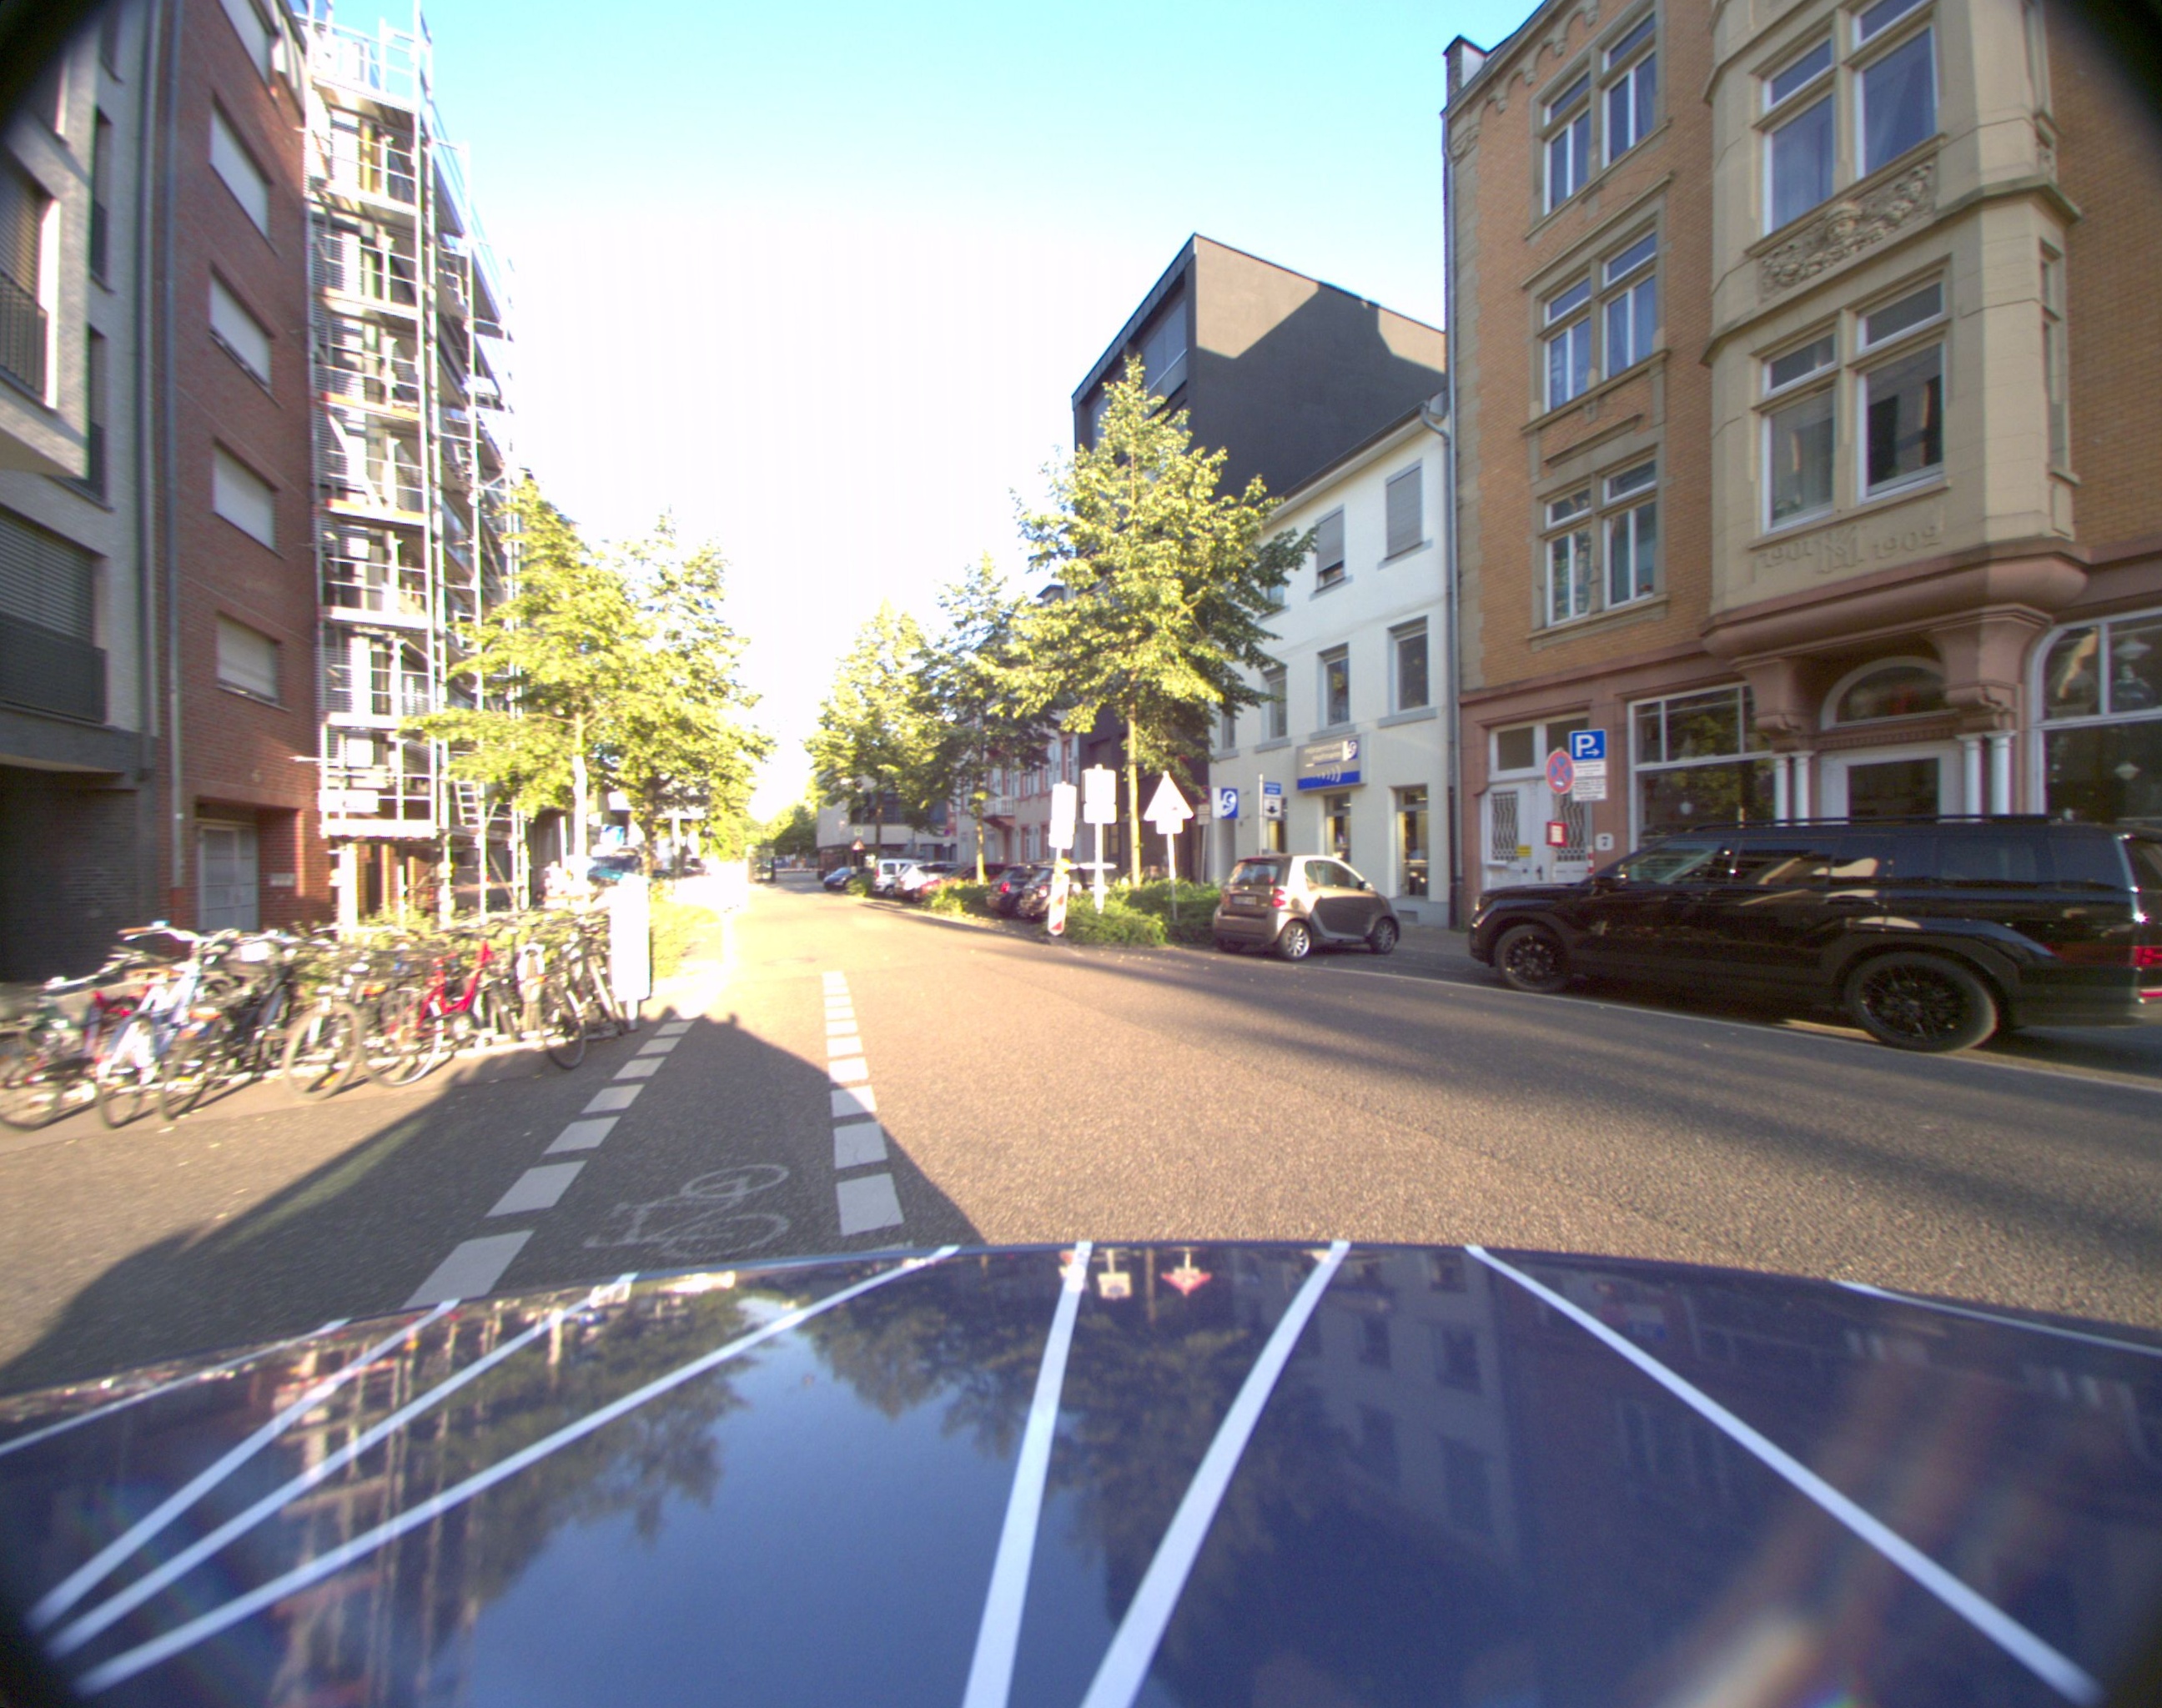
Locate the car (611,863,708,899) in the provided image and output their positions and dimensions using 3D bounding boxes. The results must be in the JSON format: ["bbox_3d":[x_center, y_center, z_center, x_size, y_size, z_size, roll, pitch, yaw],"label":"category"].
[{"bbox_3d":[-20.690,1.312,37.478,4.005,1.674,1.887,0,0,-23],"label":"car"}]

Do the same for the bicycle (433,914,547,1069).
[{"bbox_3d":[-5.407,1.191,7.028,0.489,1.156,1.549,-1,0,-25],"label":"bicycle"}]

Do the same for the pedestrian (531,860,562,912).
[{"bbox_3d":[-18.638,1.093,26.504,0.744,1.773,0.655,-1,0,-27],"label":"pedestrian"}]

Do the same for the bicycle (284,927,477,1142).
[{"bbox_3d":[-4.823,1.155,5.340,0.419,1.150,1.549,-1,0,-20],"label":"bicycle"}]

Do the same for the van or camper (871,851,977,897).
[{"bbox_3d":[-7.261,0.933,35.255,4.461,1.993,1.854,1,-1,-27],"label":"van or camper"}]

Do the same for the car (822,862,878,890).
[{"bbox_3d":[-13.904,1.316,45.952,1.856,1.558,3.700,1,-1,8],"label":"car"}]

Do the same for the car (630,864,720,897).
[{"bbox_3d":[-21.351,1.356,40.121,4.005,1.674,1.887,0,0,-23],"label":"car"}]

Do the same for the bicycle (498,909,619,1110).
[{"bbox_3d":[-3.917,1.076,5.787,0.499,1.213,1.549,-1,0,-25],"label":"bicycle"}]

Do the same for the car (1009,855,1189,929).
[{"bbox_3d":[0.452,0.901,18.717,4.015,1.660,1.854,1,-1,-27],"label":"car"}]

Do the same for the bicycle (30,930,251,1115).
[{"bbox_3d":[-7.341,1.240,6.026,0.459,1.125,1.549,-1,0,-25],"label":"bicycle"}]

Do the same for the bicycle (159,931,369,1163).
[{"bbox_3d":[-5.309,1.161,5.038,0.382,1.153,1.549,-1,0,-25],"label":"bicycle"}]

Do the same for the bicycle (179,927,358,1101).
[{"bbox_3d":[-6.726,1.253,6.376,0.469,1.137,1.549,-1,0,-25],"label":"bicycle"}]

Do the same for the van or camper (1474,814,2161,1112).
[{"bbox_3d":[6.252,0.676,6.887,1.899,1.797,4.450,0,0,-31],"label":"van or camper"}]

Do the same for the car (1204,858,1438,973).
[{"bbox_3d":[3.798,0.851,11.949,3.486,1.566,1.504,0,0,-28],"label":"car"}]

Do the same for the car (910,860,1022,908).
[{"bbox_3d":[-4.270,1.084,28.226,3.703,1.660,1.854,1,-1,-27],"label":"car"}]

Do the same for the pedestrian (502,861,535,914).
[{"bbox_3d":[-19.203,1.132,25.957,0.744,1.773,0.655,-1,0,-25],"label":"pedestrian"}]

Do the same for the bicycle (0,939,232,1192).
[{"bbox_3d":[-6.008,1.197,4.721,0.388,1.182,1.549,-1,0,-25],"label":"bicycle"}]

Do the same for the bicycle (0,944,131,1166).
[{"bbox_3d":[-6.560,1.213,4.619,0.388,1.176,1.402,-1,0,-25],"label":"bicycle"}]

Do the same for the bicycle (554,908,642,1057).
[{"bbox_3d":[-4.609,1.159,7.330,0.509,1.172,1.549,-1,0,-25],"label":"bicycle"}]

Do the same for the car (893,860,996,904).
[{"bbox_3d":[-5.472,1.116,30.476,3.703,1.660,1.854,1,-1,-27],"label":"car"}]

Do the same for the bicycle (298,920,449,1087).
[{"bbox_3d":[-6.044,1.207,6.574,0.489,1.143,1.549,-1,0,-25],"label":"bicycle"}]

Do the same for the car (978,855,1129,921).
[{"bbox_3d":[-0.750,0.899,20.811,3.703,1.660,1.854,1,-1,-27],"label":"car"}]
